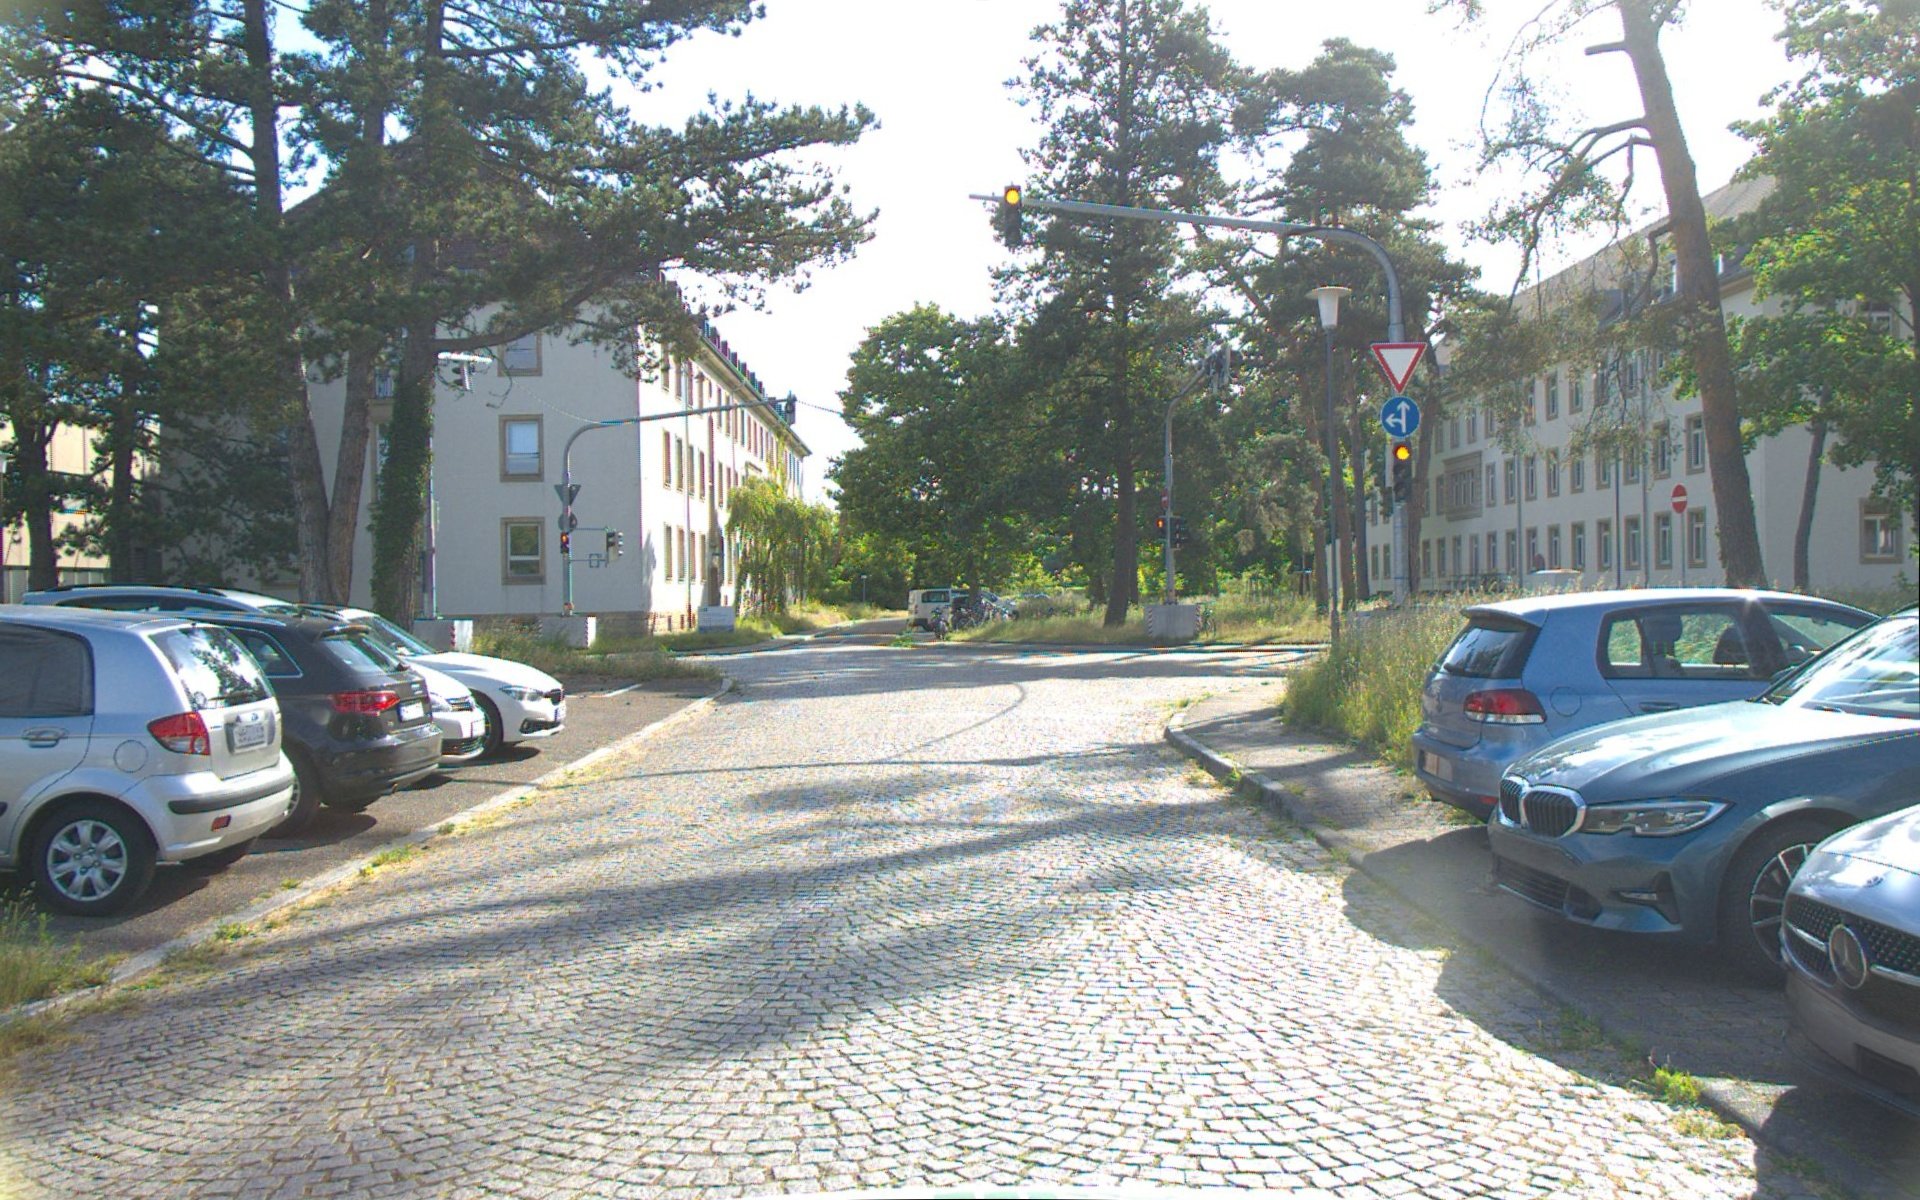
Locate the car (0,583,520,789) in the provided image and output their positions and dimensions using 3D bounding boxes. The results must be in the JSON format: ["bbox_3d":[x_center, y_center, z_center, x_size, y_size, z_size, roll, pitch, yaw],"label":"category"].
[{"bbox_3d":[-6.099,0.706,14.497,3.999,1.621,1.884,1,0,-4],"label":"car"}]

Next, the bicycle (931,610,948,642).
[{"bbox_3d":[-0.691,0.860,54.987,0.458,1.028,1.584,1,-1,-4],"label":"bicycle"}]

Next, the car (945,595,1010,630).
[{"bbox_3d":[0.751,0.550,73.156,2.727,1.492,1.669,1,-1,-5],"label":"car"}]

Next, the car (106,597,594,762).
[{"bbox_3d":[-6.016,0.767,16.741,4.247,1.494,1.829,1,0,-4],"label":"car"}]

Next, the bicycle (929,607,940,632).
[{"bbox_3d":[-1.059,0.793,68.310,0.409,1.028,1.483,1,-1,0],"label":"bicycle"}]

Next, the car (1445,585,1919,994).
[{"bbox_3d":[4.573,0.659,7.085,4.466,1.440,1.636,-3,1,0],"label":"car"}]

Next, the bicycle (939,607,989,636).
[{"bbox_3d":[0.147,0.803,62.141,1.803,1.028,0.635,1,-1,-8],"label":"bicycle"}]

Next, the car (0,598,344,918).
[{"bbox_3d":[-5.432,0.758,8.808,3.672,1.513,1.645,1,0,-4],"label":"car"}]

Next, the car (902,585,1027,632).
[{"bbox_3d":[0.195,0.399,76.614,5.437,2.049,1.989,1,-1,-19],"label":"car"}]

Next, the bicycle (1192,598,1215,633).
[{"bbox_3d":[6.868,0.432,46.669,0.294,0.977,1.584,1,-1,-4],"label":"bicycle"}]

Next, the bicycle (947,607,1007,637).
[{"bbox_3d":[0.598,0.783,58.679,2.070,1.028,0.620,1,-1,-8],"label":"bicycle"}]

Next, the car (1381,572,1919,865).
[{"bbox_3d":[4.631,0.624,9.828,3.803,1.440,1.636,-3,1,0],"label":"car"}]

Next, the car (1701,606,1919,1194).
[{"bbox_3d":[4.569,0.680,4.422,4.341,1.440,1.781,-3,1,0],"label":"car"}]

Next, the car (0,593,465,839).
[{"bbox_3d":[-5.633,0.737,11.406,3.908,1.506,1.802,1,0,-4],"label":"car"}]

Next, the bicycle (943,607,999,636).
[{"bbox_3d":[0.415,0.794,60.389,1.967,1.028,0.631,1,-1,-8],"label":"bicycle"}]
